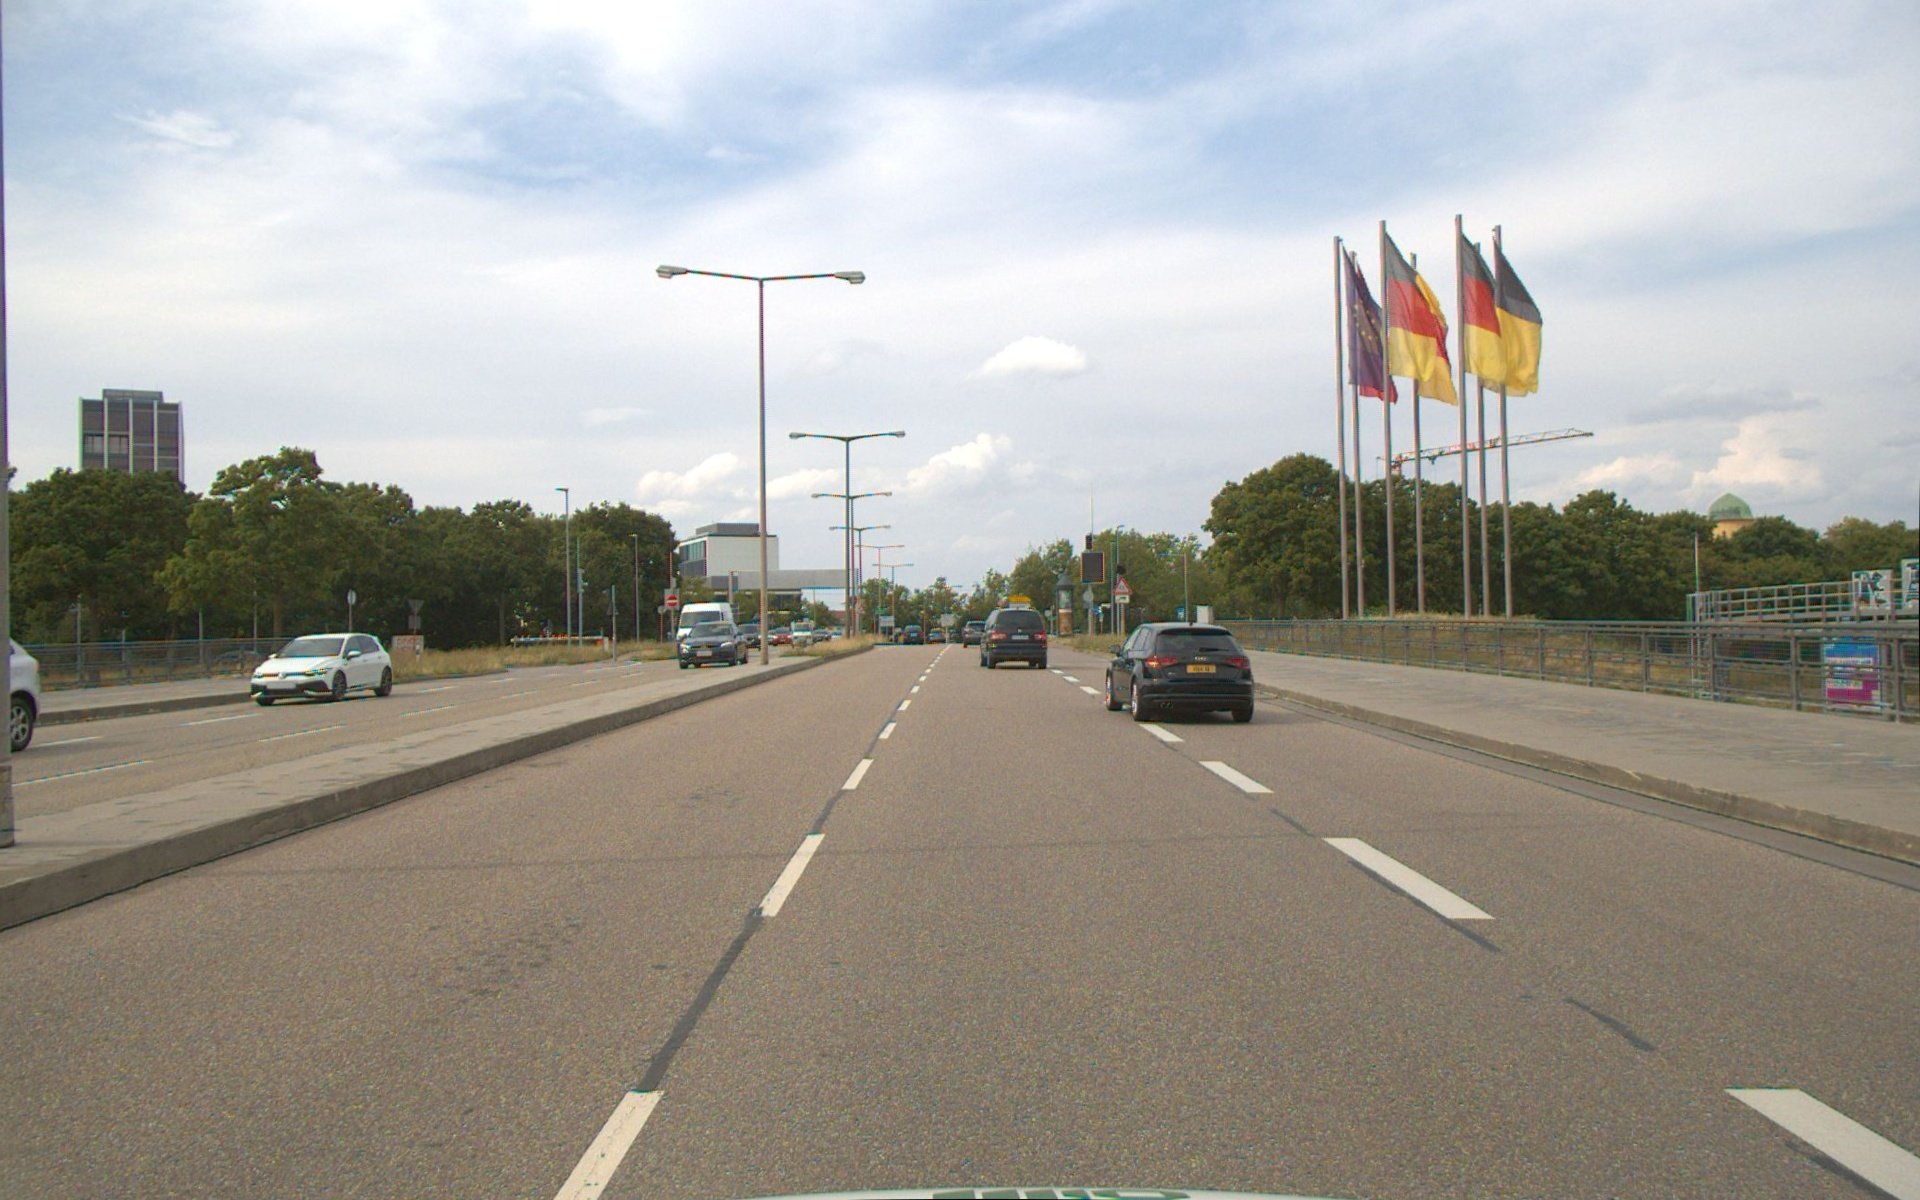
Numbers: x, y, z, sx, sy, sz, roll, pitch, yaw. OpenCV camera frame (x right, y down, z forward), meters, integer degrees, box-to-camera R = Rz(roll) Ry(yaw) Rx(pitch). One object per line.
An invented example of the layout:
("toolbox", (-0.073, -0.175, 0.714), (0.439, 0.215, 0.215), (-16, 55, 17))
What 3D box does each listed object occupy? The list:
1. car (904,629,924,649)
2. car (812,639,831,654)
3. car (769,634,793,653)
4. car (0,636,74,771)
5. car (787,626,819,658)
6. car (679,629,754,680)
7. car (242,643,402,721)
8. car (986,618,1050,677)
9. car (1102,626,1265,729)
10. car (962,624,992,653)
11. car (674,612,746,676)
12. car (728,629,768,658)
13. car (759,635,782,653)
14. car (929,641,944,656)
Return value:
("car", (-3.946, 3.385, 142.402), (1.695, 1.682, 4.113), (0, -2, -1))
("car", (-14.724, 4.910, 176.082), (1.710, 1.501, 4.562), (-2, -2, -2))
("car", (-15.432, 3.760, 142.812), (1.618, 1.602, 4.336), (-3, -2, -2))
("car", (-13.471, 1.379, 20.961), (1.824, 1.755, 4.770), (-3, -1, 1))
("car", (-9.790, 2.600, 103.210), (1.508, 1.904, 3.570), (-2, -1, 1))
("car", (-7.848, 1.763, 53.643), (1.703, 1.506, 4.775), (-2, -2, 0))
("car", (-13.917, 1.758, 36.351), (1.702, 1.506, 4.471), (-3, -1, 1))
("car", (1.675, 1.416, 48.938), (1.695, 1.682, 4.113), (0, -2, -1))
("car", (3.294, 1.143, 25.125), (1.696, 1.419, 4.112), (-1, -2, -3))
("car", (1.034, 2.377, 101.427), (1.695, 1.682, 4.113), (0, -2, -1))
("car", (-11.203, 1.941, 74.512), (2.010, 2.689, 6.400), (-2, -1, 2))
("car", (-12.830, 2.596, 100.122), (1.711, 1.613, 4.586), (-3, -1, 1))
("car", (-18.732, 4.368, 163.622), (1.954, 1.781, 3.997), (0, -1, -3))
("car", (-2.587, 5.306, 180.724), (1.695, 1.553, 4.113), (0, -2, -1))
